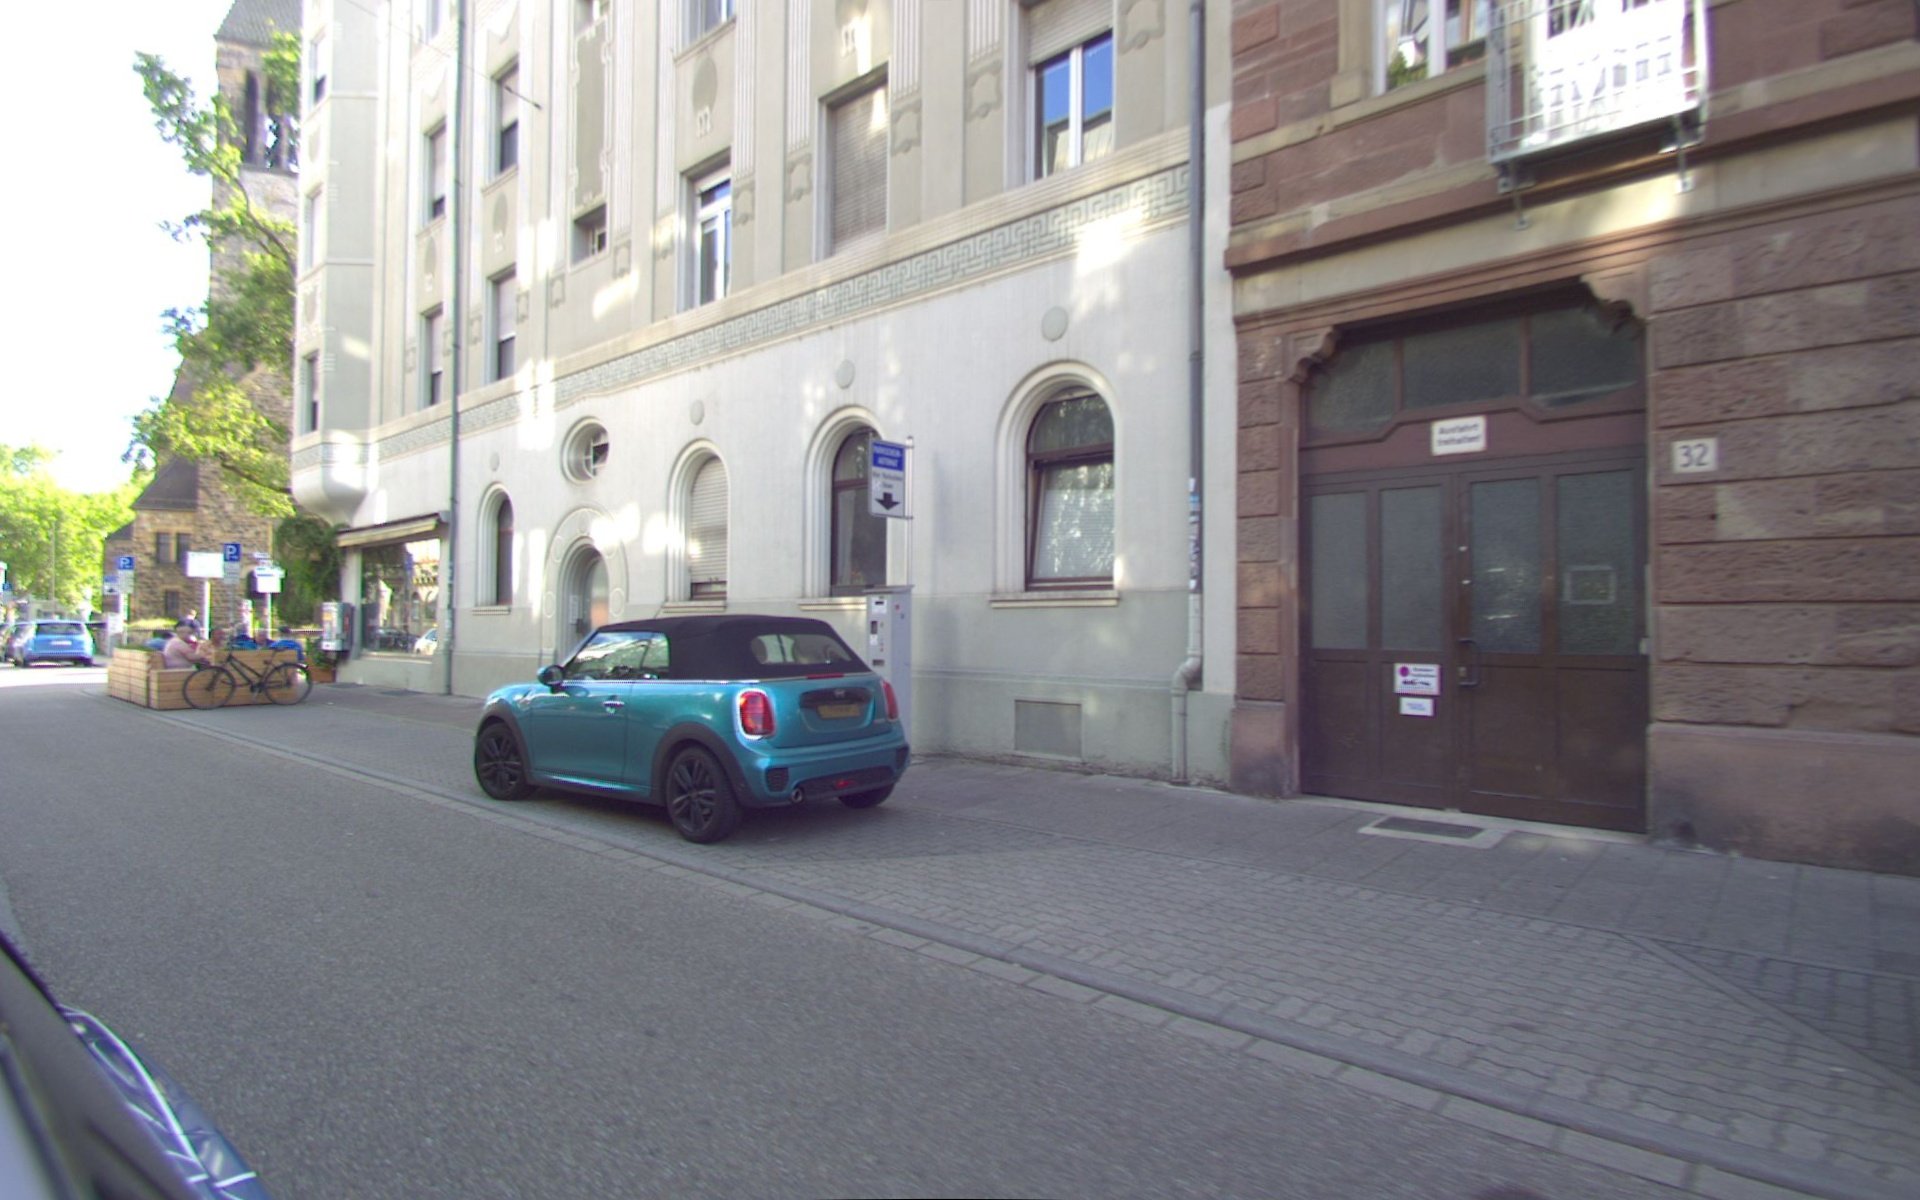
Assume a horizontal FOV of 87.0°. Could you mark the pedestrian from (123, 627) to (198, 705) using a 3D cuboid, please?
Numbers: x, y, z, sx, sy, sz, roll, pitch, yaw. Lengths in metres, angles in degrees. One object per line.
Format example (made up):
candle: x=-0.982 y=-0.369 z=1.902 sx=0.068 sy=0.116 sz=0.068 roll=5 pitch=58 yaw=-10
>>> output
pedestrian: x=-15.061 y=1.216 z=19.068 sx=1.073 sy=1.383 sz=0.896 roll=0 pitch=-1 yaw=-40

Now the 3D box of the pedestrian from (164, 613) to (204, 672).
pedestrian: x=-23.528 y=1.274 z=30.679 sx=0.879 sy=1.722 sz=0.834 roll=-2 pitch=-1 yaw=42

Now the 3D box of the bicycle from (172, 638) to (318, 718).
bicycle: x=-11.631 y=1.232 z=16.510 sx=0.688 sy=1.184 sz=1.847 roll=-2 pitch=-1 yaw=43

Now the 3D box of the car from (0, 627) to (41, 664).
car: x=-38.472 y=1.806 z=40.670 sx=3.999 sy=1.431 sz=1.886 roll=-1 pitch=-1 yaw=42

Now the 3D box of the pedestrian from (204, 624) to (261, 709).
pedestrian: x=-12.400 y=1.114 z=17.253 sx=0.680 sy=1.383 sz=0.740 roll=0 pitch=-1 yaw=-45

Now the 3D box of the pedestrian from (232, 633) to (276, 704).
pedestrian: x=-12.950 y=1.237 z=18.567 sx=0.589 sy=1.253 sz=0.694 roll=0 pitch=-1 yaw=-41

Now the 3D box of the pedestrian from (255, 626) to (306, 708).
pedestrian: x=-11.886 y=1.158 z=17.702 sx=0.628 sy=1.383 sz=0.684 roll=0 pitch=-1 yaw=-45

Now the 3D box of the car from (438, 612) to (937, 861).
car: x=-2.240 y=0.831 z=7.748 sx=4.007 sy=1.426 sz=1.653 roll=-1 pitch=-1 yaw=39

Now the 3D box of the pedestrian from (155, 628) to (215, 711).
pedestrian: x=-13.200 y=1.166 z=17.246 sx=0.644 sy=1.359 sz=0.729 roll=-2 pitch=-1 yaw=44

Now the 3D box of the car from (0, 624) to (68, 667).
car: x=-33.669 y=1.609 z=36.441 sx=3.999 sy=1.431 sz=1.886 roll=-1 pitch=-1 yaw=42

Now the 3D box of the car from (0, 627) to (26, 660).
car: x=-43.372 y=1.947 z=45.349 sx=3.999 sy=1.431 sz=1.886 roll=-1 pitch=-1 yaw=42

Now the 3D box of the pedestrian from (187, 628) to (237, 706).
pedestrian: x=-13.436 y=1.189 z=18.181 sx=0.658 sy=1.346 sz=0.740 roll=0 pitch=-1 yaw=-41

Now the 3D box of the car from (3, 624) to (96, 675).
car: x=-29.130 y=1.535 z=32.337 sx=4.169 sy=1.497 sz=1.804 roll=-1 pitch=-1 yaw=42
